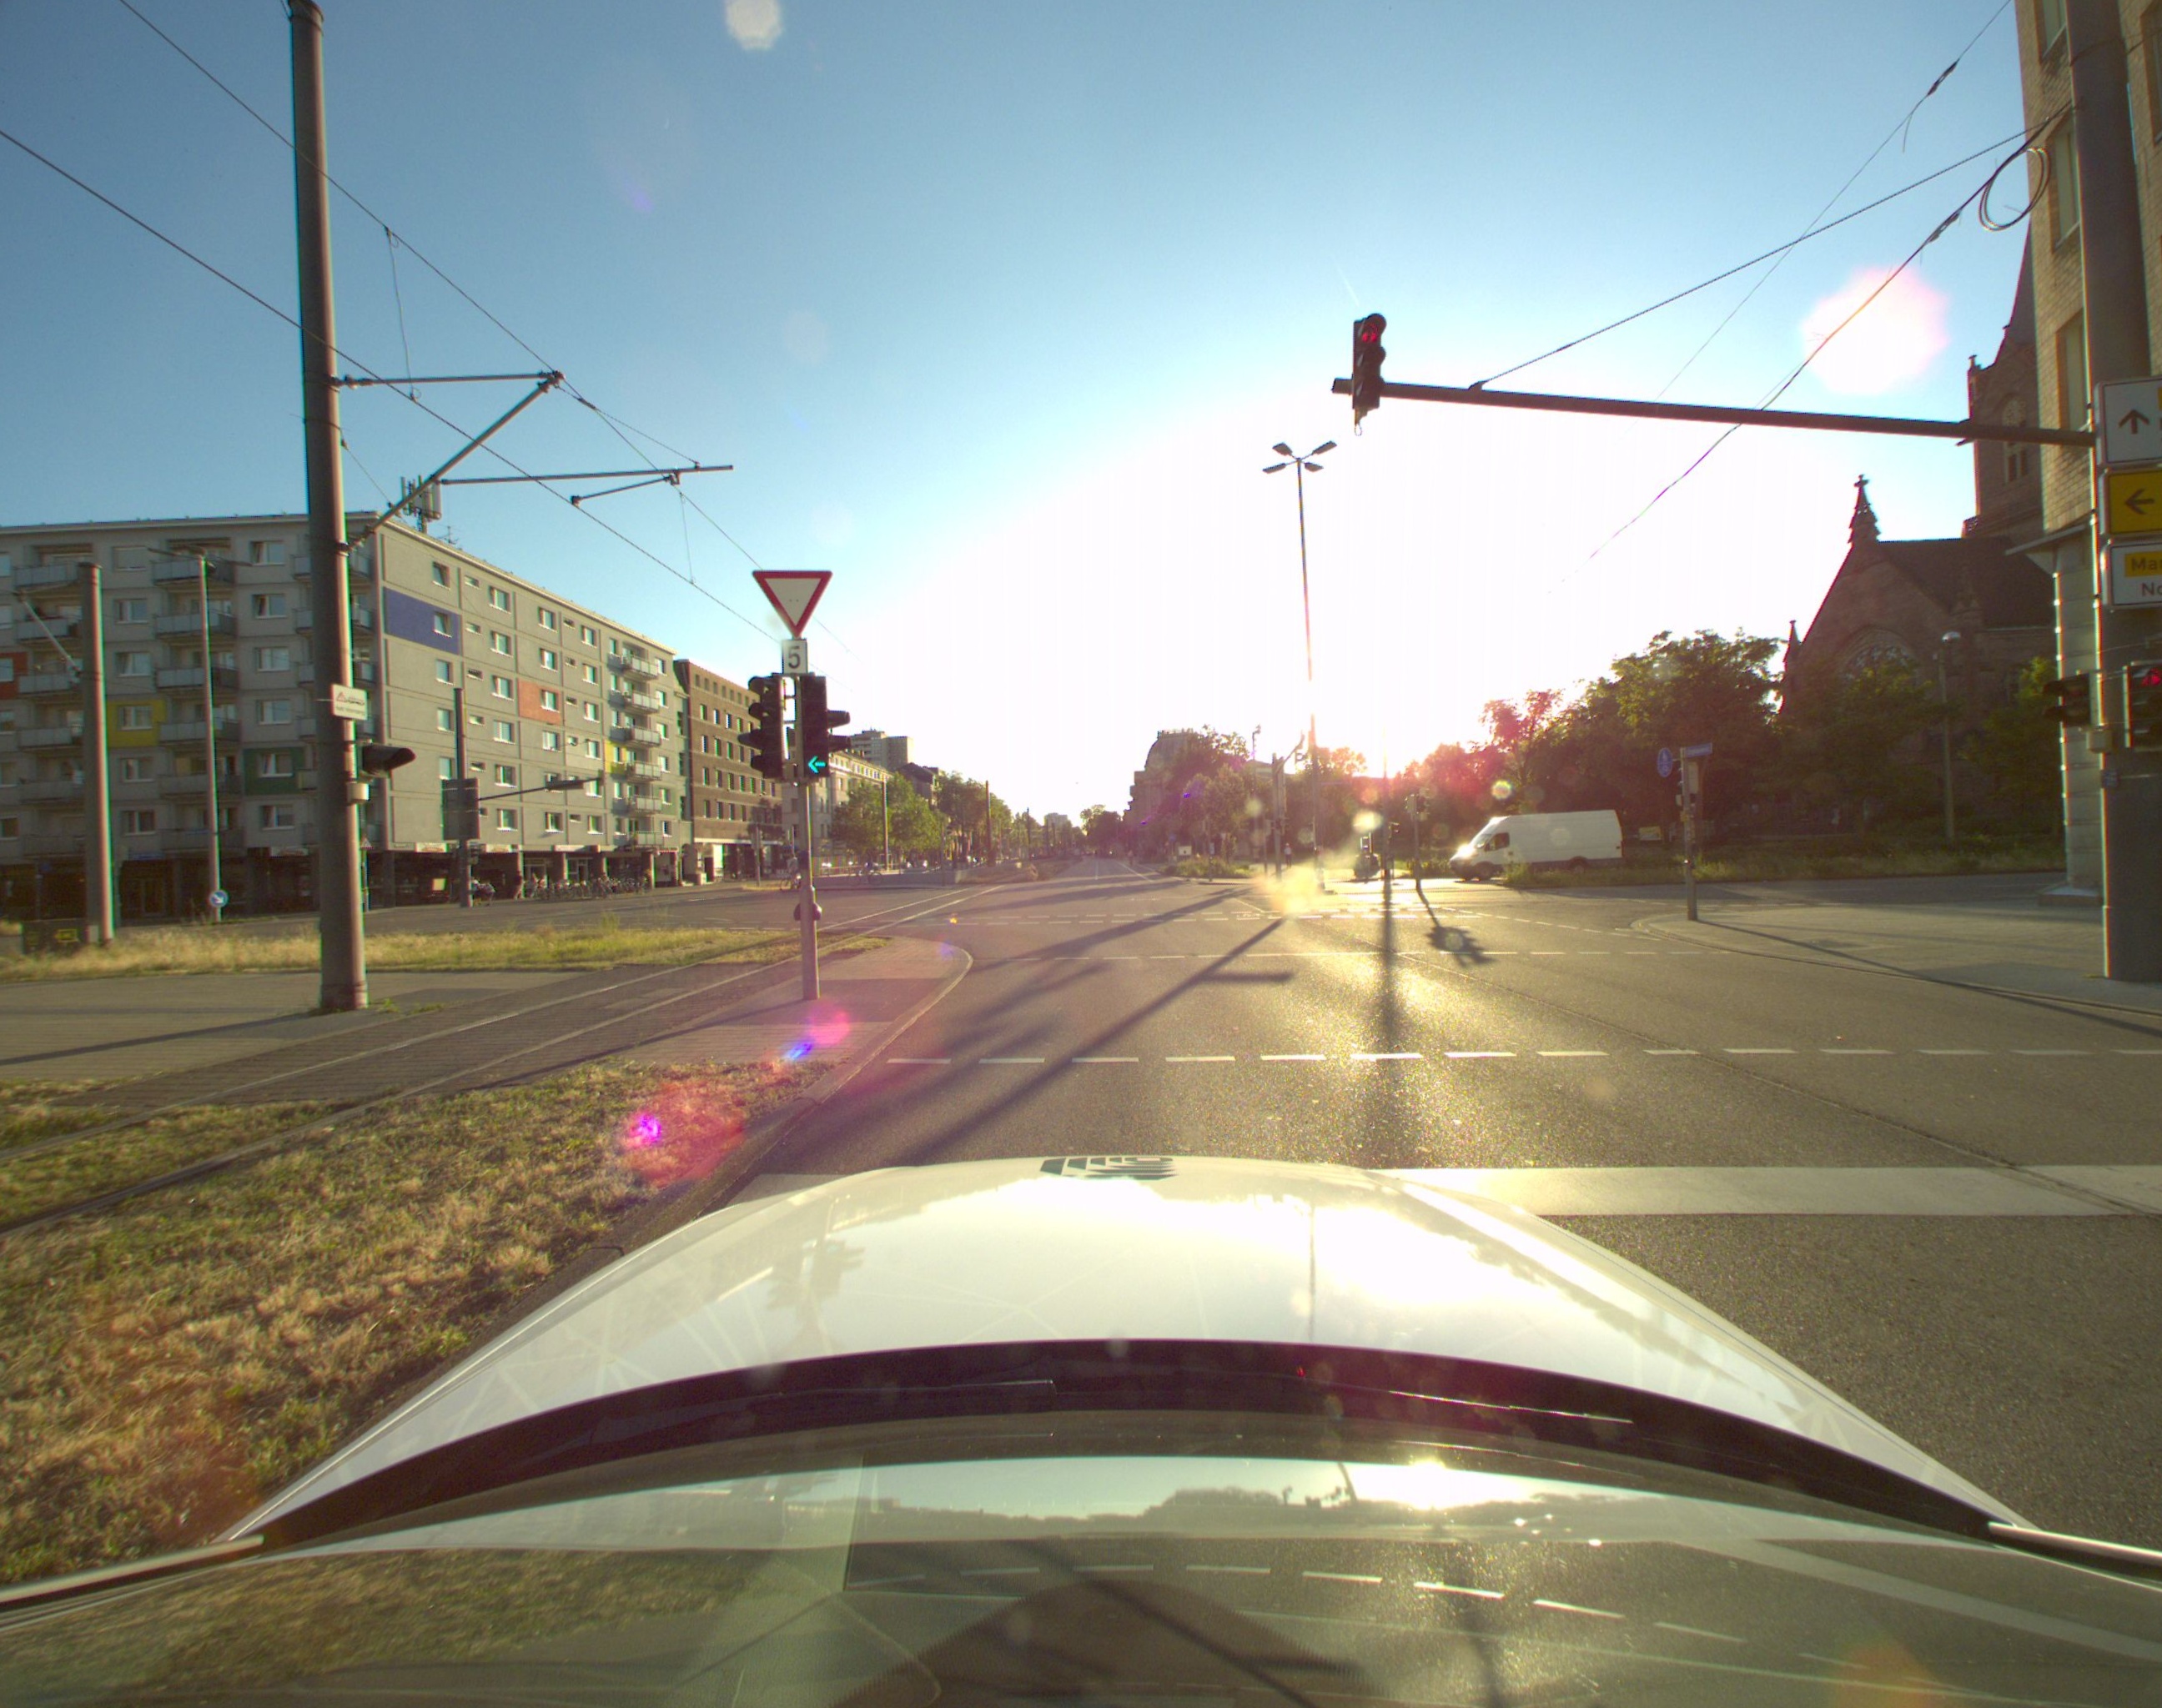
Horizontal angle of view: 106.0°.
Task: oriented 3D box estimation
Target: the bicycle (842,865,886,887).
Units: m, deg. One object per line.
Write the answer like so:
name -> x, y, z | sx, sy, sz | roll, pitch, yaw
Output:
bicycle -> -11.284, 1.145, 42.433 | 2.162, 1.083, 0.537 | -1, -1, -8

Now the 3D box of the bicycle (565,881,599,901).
bicycle -> -31.299, 2.297, 51.051 | 1.759, 1.167, 0.540 | -2, 0, 2

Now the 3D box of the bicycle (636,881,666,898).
bicycle -> -30.843, 2.545, 58.407 | 1.683, 1.170, 0.749 | -2, 0, 3

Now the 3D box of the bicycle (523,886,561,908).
bicycle -> -32.280, 2.569, 48.797 | 1.788, 1.208, 0.638 | -2, 0, 0

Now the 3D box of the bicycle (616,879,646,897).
bicycle -> -31.038, 2.356, 56.190 | 1.719, 1.124, 0.634 | -2, -1, 3

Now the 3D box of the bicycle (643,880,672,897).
bicycle -> -30.779, 2.501, 59.162 | 1.683, 1.144, 0.697 | -2, 0, 3

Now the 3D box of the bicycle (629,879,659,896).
bicycle -> -30.889, 2.366, 57.633 | 1.683, 1.179, 0.749 | -2, 0, 3

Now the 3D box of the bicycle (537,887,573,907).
bicycle -> -32.165, 2.605, 49.830 | 1.770, 1.142, 0.608 | -2, 0, 1

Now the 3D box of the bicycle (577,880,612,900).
bicycle -> -31.235, 2.323, 52.298 | 1.782, 1.191, 0.652 | -2, 0, 1

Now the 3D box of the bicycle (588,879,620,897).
bicycle -> -31.830, 2.277, 54.388 | 1.764, 1.136, 0.606 | -2, 0, 2

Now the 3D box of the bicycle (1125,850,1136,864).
bicycle -> 5.357, 0.306, 89.014 | 1.094, 1.399, 2.833 | -2, 0, 2

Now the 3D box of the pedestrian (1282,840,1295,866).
pedestrian -> 14.802, -0.085, 58.094 | 0.826, 1.803, 0.814 | -2, 0, 17

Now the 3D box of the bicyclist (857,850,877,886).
bicyclist -> -11.132, 0.710, 42.459 | 0.875, 1.818, 0.536 | -2, 0, -7

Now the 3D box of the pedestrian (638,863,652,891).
pedestrian -> -34.569, 1.805, 64.598 | 0.599, 2.178, 0.792 | -2, 0, 1

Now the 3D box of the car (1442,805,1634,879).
car -> 19.580, -0.496, 35.182 | 6.981, 2.827, 2.095 | -2, 0, 3

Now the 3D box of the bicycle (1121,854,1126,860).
bicycle -> 7.617, 0.544, 146.552 | 0.921, 1.111, 2.334 | -2, 0, 2

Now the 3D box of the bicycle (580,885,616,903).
bicycle -> -27.251, 2.245, 45.978 | 0.503, 0.944, 1.678 | -2, 0, 29

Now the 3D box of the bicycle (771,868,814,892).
bicycle -> -14.175, 1.274, 40.059 | 1.902, 1.075, 0.630 | -2, 0, -12

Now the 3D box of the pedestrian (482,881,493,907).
pedestrian -> -32.331, 2.164, 44.335 | 0.383, 1.383, 0.392 | -2, 0, -26

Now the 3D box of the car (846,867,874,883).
car -> -24.706, 2.332, 91.128 | 1.681, 1.618, 4.007 | -4, 0, 6

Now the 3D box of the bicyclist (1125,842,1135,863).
bicyclist -> 5.342, -0.137, 88.910 | 1.078, 2.276, 0.986 | -2, 0, 1

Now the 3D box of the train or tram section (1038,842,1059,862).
train or tram section -> -7.051, -0.550, 178.863 | 4.375, 3.849, 11.402 | -2, 2, -2

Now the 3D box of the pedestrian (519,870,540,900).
pedestrian -> -34.946, 1.969, 51.626 | 0.785, 1.841, 0.733 | -2, 0, -7

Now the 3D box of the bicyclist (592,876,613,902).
bicyclist -> -27.147, 1.974, 46.174 | 0.494, 1.426, 0.863 | -2, 0, 29

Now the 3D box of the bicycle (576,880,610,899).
bicycle -> -31.813, 2.304, 53.108 | 1.824, 1.160, 0.640 | -2, 0, 1

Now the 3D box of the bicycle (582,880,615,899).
bicycle -> -31.817, 2.340, 53.745 | 1.769, 1.159, 0.606 | -2, 0, 1

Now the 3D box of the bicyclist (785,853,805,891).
bicyclist -> -14.061, 0.893, 40.069 | 0.793, 1.818, 0.643 | -2, 0, -13

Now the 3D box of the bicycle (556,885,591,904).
bicycle -> -31.455, 2.510, 50.478 | 1.750, 1.139, 0.600 | -2, 0, 2

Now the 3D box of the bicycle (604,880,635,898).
bicycle -> -31.129, 2.365, 54.970 | 1.748, 1.117, 0.552 | -2, 0, 2

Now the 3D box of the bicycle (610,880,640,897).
bicycle -> -31.098, 2.361, 55.556 | 1.754, 1.119, 0.568 | -2, 0, 2

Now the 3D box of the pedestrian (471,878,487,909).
pedestrian -> -32.311, 2.120, 43.699 | 0.575, 1.620, 0.598 | -2, 0, -29

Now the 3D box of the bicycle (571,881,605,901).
bicycle -> -31.260, 2.345, 51.655 | 1.762, 1.182, 0.568 | -2, 0, 1

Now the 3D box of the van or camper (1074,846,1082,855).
van or camper -> -1.015, -0.974, 252.165 | 2.441, 2.770, 5.600 | -2, 0, 0

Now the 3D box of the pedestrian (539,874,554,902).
pedestrian -> -33.141, 2.119, 50.484 | 0.579, 1.684, 0.545 | -2, 0, -9

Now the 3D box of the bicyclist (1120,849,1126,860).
bicyclist -> 7.593, 0.114, 146.606 | 0.922, 2.013, 0.851 | -2, 0, 1

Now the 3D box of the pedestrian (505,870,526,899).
pedestrian -> -35.889, 1.938, 51.707 | 0.826, 1.813, 0.719 | 1, -1, -9
